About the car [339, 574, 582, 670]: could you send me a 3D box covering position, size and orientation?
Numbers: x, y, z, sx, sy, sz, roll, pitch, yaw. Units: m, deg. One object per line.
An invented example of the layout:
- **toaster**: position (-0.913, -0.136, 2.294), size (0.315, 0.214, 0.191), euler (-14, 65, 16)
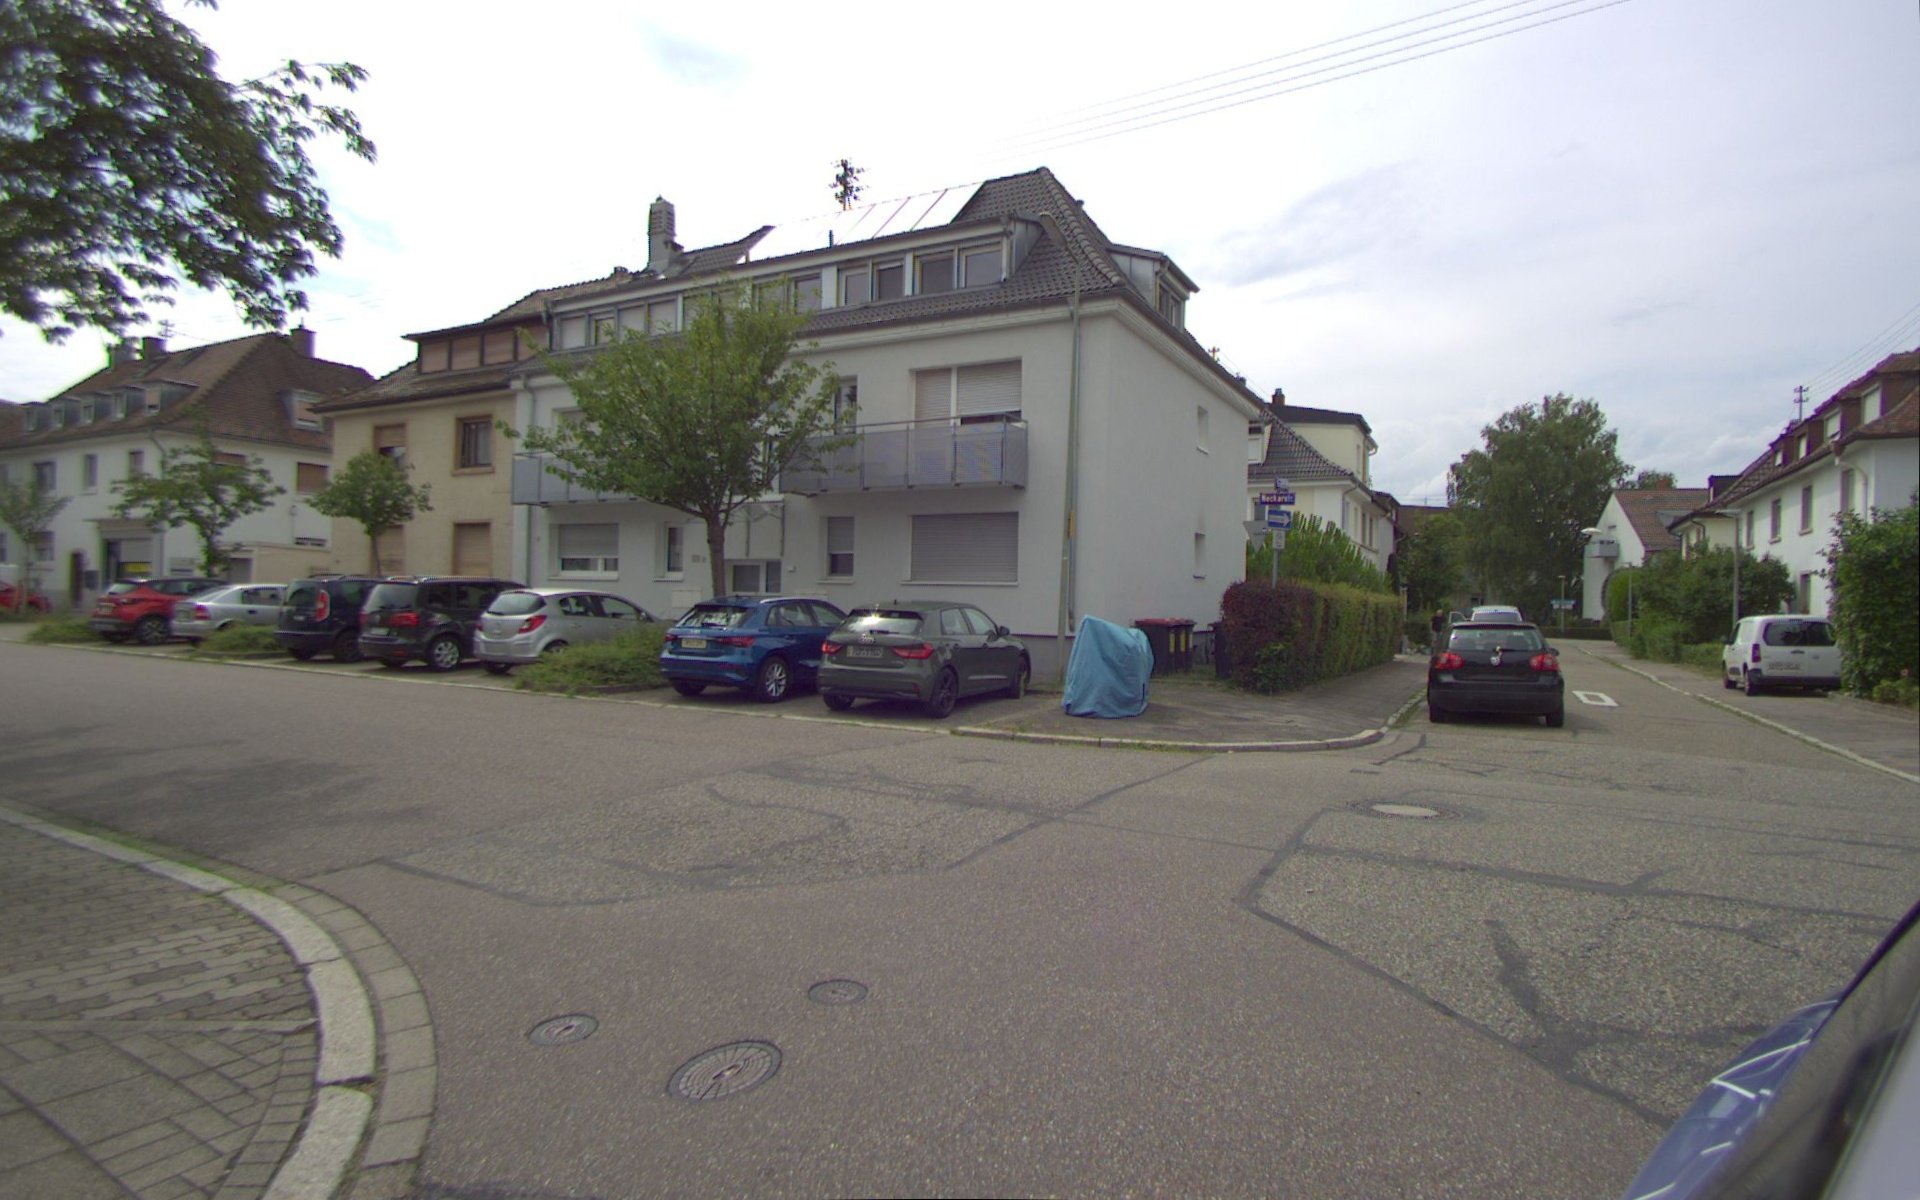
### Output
- **car**: position (-9.156, 0.310, 18.832), size (1.758, 1.584, 3.721), euler (1, 2, 30)

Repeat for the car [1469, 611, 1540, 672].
- **car**: position (15.260, 1.114, 28.500), size (1.647, 1.537, 3.778), euler (1, 0, 27)

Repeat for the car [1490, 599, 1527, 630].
- **car**: position (34.410, 0.852, 63.567), size (1.892, 1.755, 3.735), euler (1, 2, 26)

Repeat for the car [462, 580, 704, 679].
- **car**: position (-6.650, 0.425, 18.253), size (1.707, 1.537, 3.960), euler (1, 2, 29)

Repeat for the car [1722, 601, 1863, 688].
- **car**: position (18.963, 0.950, 23.236), size (1.688, 1.828, 3.778), euler (-1, -1, 27)

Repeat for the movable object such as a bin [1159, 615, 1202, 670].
- **movable object such as a bin**: position (4.269, 0.809, 19.573), size (0.693, 1.021, 0.516), euler (1, -1, 27)

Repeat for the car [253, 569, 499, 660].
- **car**: position (-11.675, 0.193, 20.493), size (1.851, 1.638, 3.958), euler (1, 2, 30)

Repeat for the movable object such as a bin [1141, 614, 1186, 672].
- **movable object such as a bin**: position (3.734, 0.780, 18.592), size (0.693, 1.021, 0.516), euler (1, -1, 27)

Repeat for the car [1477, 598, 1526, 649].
- **car**: position (21.860, 0.898, 40.940), size (1.647, 1.928, 3.778), euler (1, 0, 27)

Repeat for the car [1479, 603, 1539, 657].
- **car**: position (20.053, 1.057, 37.081), size (1.789, 1.817, 3.778), euler (1, 0, 27)

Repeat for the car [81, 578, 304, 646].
- **car**: position (-18.405, 0.219, 24.456), size (1.707, 1.456, 3.960), euler (1, 2, 29)

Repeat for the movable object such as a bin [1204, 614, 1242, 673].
- **movable object such as a bin**: position (4.688, 0.764, 18.025), size (0.542, 1.021, 0.607), euler (1, -1, 25)

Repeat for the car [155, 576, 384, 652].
- **car**: position (-15.502, 0.231, 22.946), size (1.707, 1.537, 3.960), euler (1, 2, 29)

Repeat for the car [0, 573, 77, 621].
- **car**: position (-32.137, -0.105, 33.557), size (1.707, 1.537, 3.960), euler (1, 2, 29)

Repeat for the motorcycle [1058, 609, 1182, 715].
- **motorcycle**: position (2.105, 0.735, 13.015), size (0.931, 1.226, 2.179), euler (1, 0, 27)

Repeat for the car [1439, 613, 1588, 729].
- **car**: position (8.236, 0.950, 15.335), size (1.645, 1.461, 3.783), euler (1, 0, 24)

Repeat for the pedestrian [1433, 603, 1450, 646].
- **pedestrian**: position (19.550, 0.985, 41.097), size (0.552, 1.741, 0.611), euler (1, -1, 18)

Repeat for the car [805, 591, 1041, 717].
- **car**: position (-0.354, 0.619, 13.904), size (1.755, 1.382, 3.728), euler (1, 2, 25)

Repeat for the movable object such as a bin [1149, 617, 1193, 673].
- **movable object such as a bin**: position (3.978, 0.832, 19.078), size (0.693, 1.021, 0.516), euler (1, -1, 27)

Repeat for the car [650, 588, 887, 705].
- **car**: position (-2.665, 0.569, 14.814), size (1.545, 1.430, 3.493), euler (1, 2, 29)

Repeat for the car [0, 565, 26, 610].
- **car**: position (-34.859, -0.400, 33.912), size (1.752, 1.537, 4.945), euler (1, 2, 27)
